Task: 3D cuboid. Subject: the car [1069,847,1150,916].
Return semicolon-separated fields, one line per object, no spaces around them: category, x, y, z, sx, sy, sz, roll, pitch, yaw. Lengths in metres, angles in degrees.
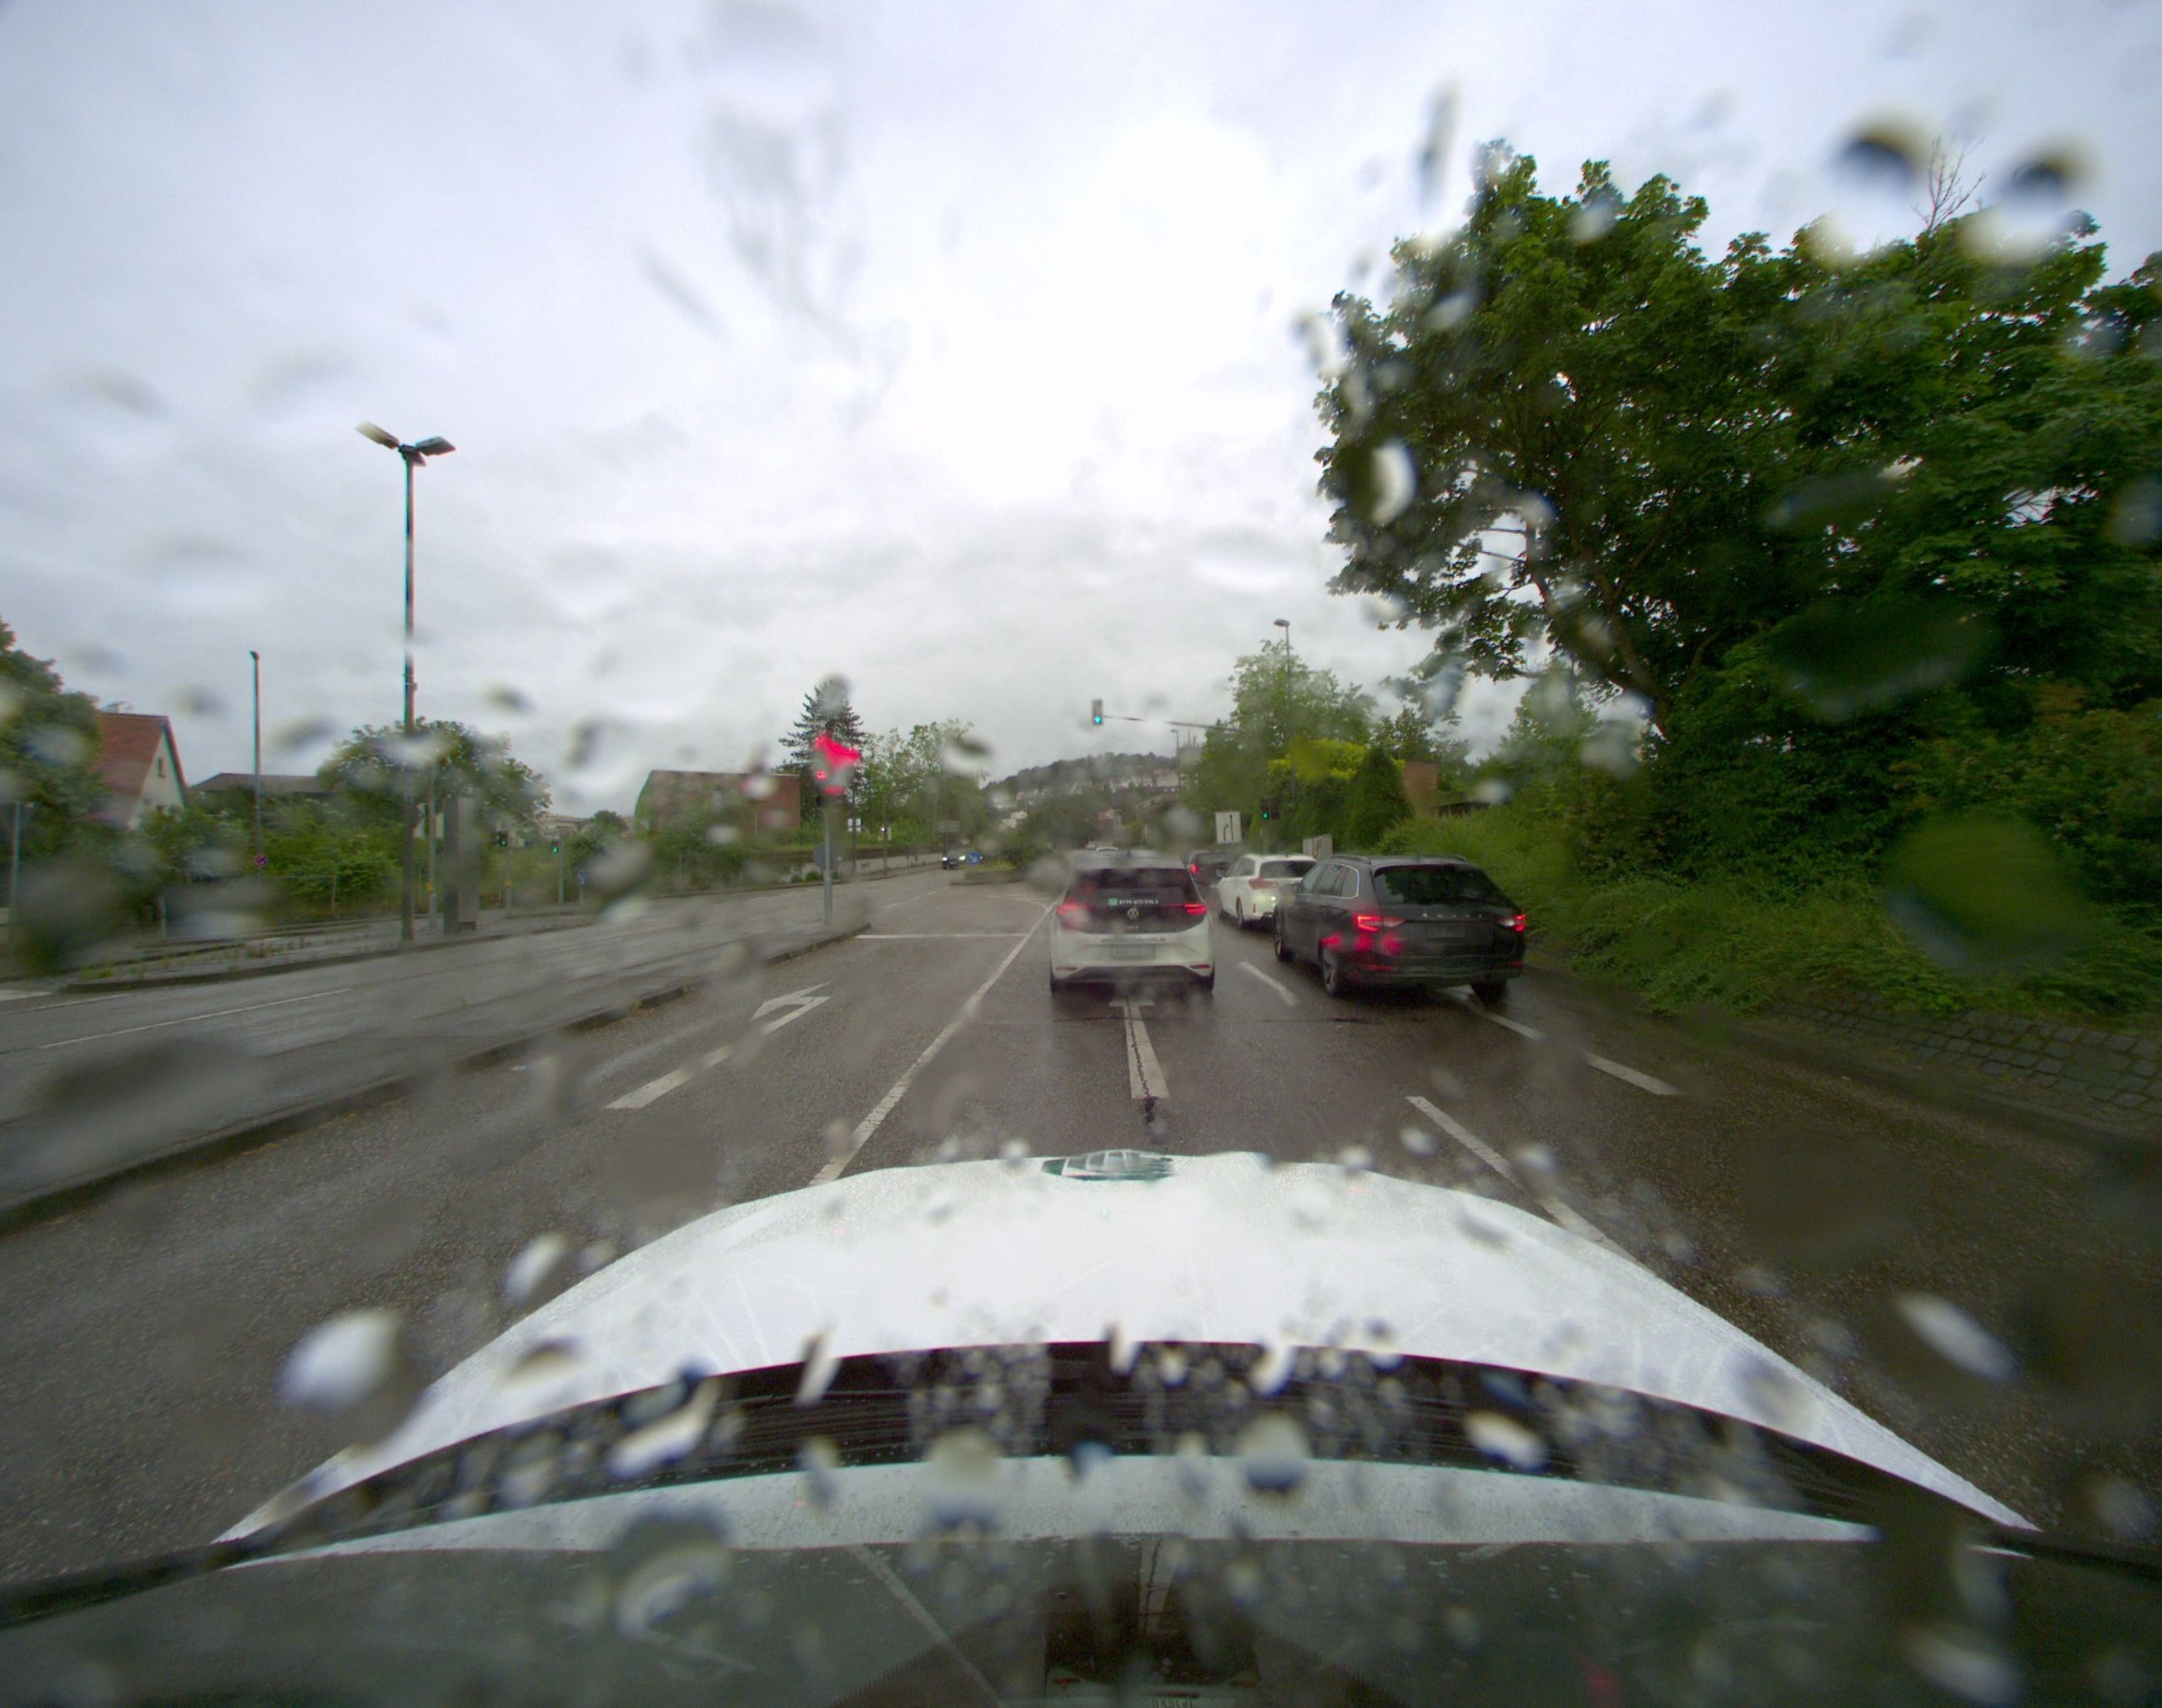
car;0.692;0.611;20.483;1.831;1.555;4.176;0;0;1

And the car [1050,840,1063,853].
car;-4.161;-1.252;140.547;1.986;2.014;4.002;-1;-1;2

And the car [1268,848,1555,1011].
car;3.478;0.662;9.535;1.830;1.466;4.353;0;0;3

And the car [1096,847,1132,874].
car;1.735;0.336;43.815;1.831;1.400;3.832;0;0;1

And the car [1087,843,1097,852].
car;1.953;-1.110;144.265;1.575;1.467;4.000;-3;-1;1

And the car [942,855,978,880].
car;-9.406;1.032;63.481;1.986;1.804;4.002;-4;0;2

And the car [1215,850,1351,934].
car;3.904;0.663;16.439;1.831;1.466;4.118;0;0;1

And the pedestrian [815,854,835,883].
pedestrian;-14.640;0.829;46.531;0.757;1.568;0.825;-4;0;1

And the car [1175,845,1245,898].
car;4.086;0.530;26.324;1.769;1.581;4.002;0;0;2

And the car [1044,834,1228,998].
car;0.596;0.598;10.401;1.831;1.629;4.617;0;0;1
